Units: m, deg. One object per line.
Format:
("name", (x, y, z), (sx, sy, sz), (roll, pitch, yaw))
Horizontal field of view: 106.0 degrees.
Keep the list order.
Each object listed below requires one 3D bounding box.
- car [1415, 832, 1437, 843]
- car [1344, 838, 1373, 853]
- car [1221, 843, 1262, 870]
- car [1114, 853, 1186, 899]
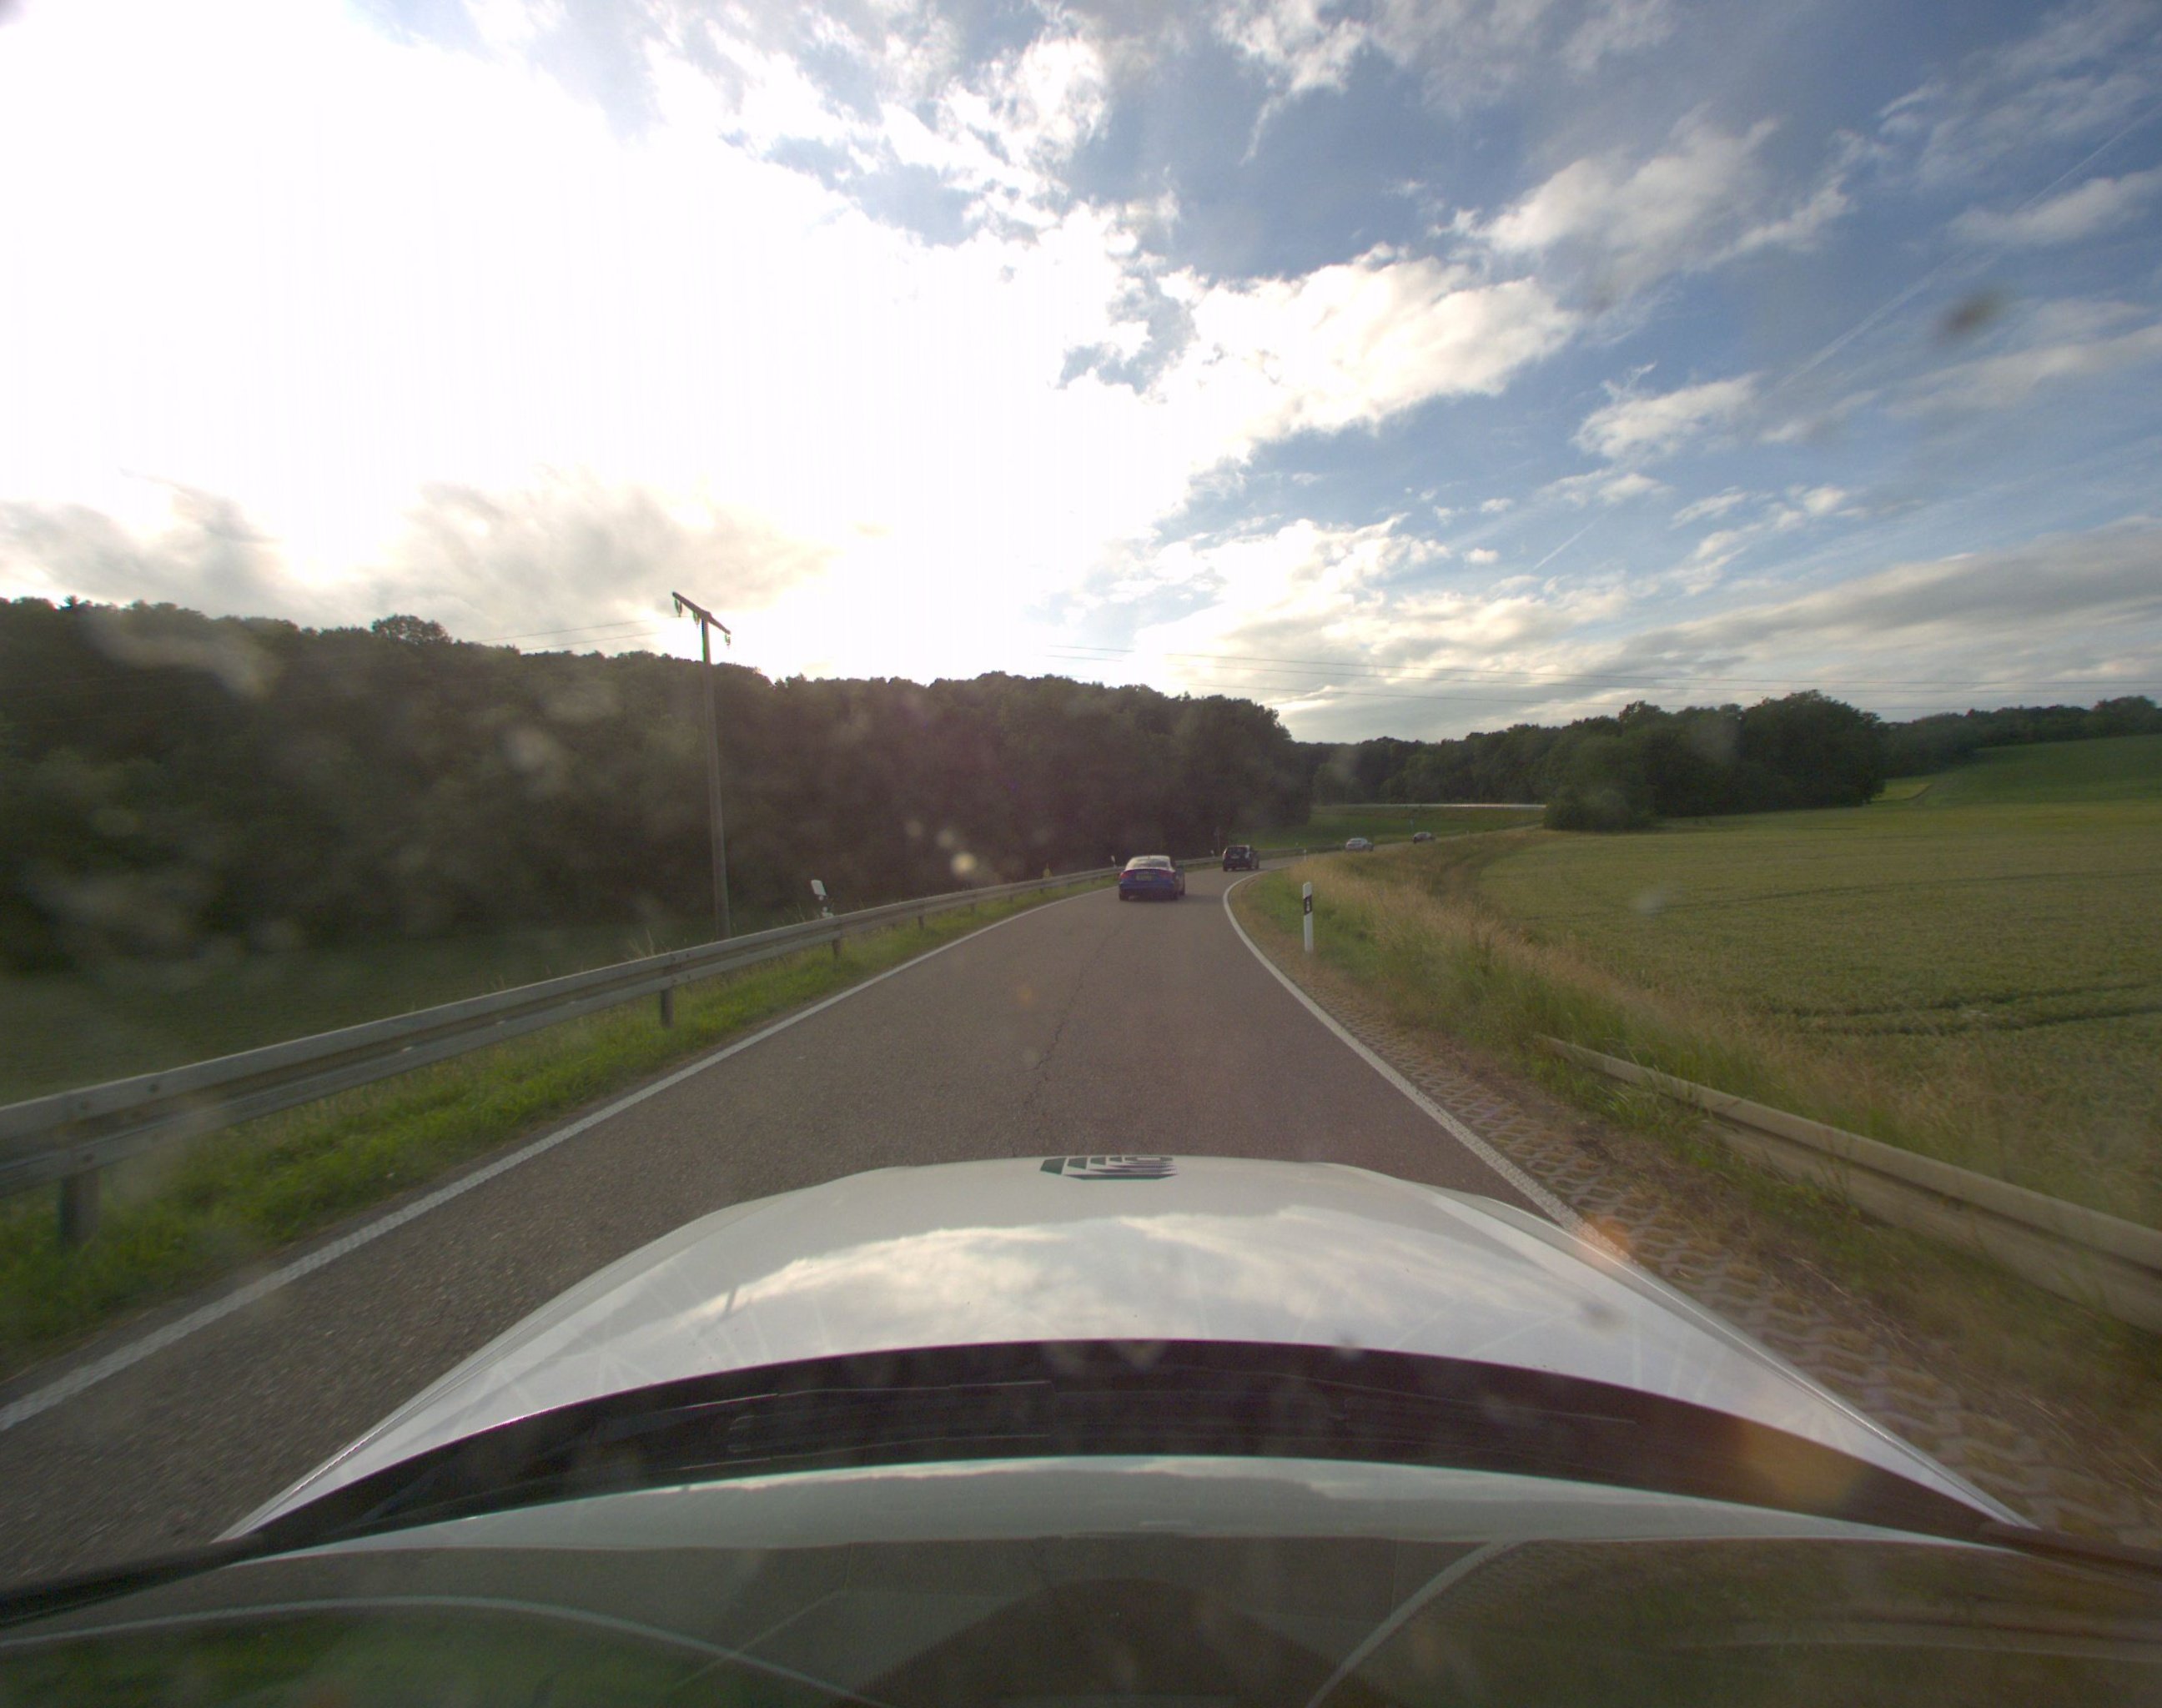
("car", (43.657, -2.109, 102.980), (1.457, 1.227, 3.321), (-5, -1, 41))
("car", (28.936, -0.865, 84.836), (1.666, 1.376, 4.026), (-4, -1, 37))
("car", (10.282, 0.141, 51.993), (1.846, 1.568, 4.021), (-2, 0, 20))
("car", (2.310, 0.660, 26.207), (1.806, 1.339, 4.364), (0, 0, 11))
